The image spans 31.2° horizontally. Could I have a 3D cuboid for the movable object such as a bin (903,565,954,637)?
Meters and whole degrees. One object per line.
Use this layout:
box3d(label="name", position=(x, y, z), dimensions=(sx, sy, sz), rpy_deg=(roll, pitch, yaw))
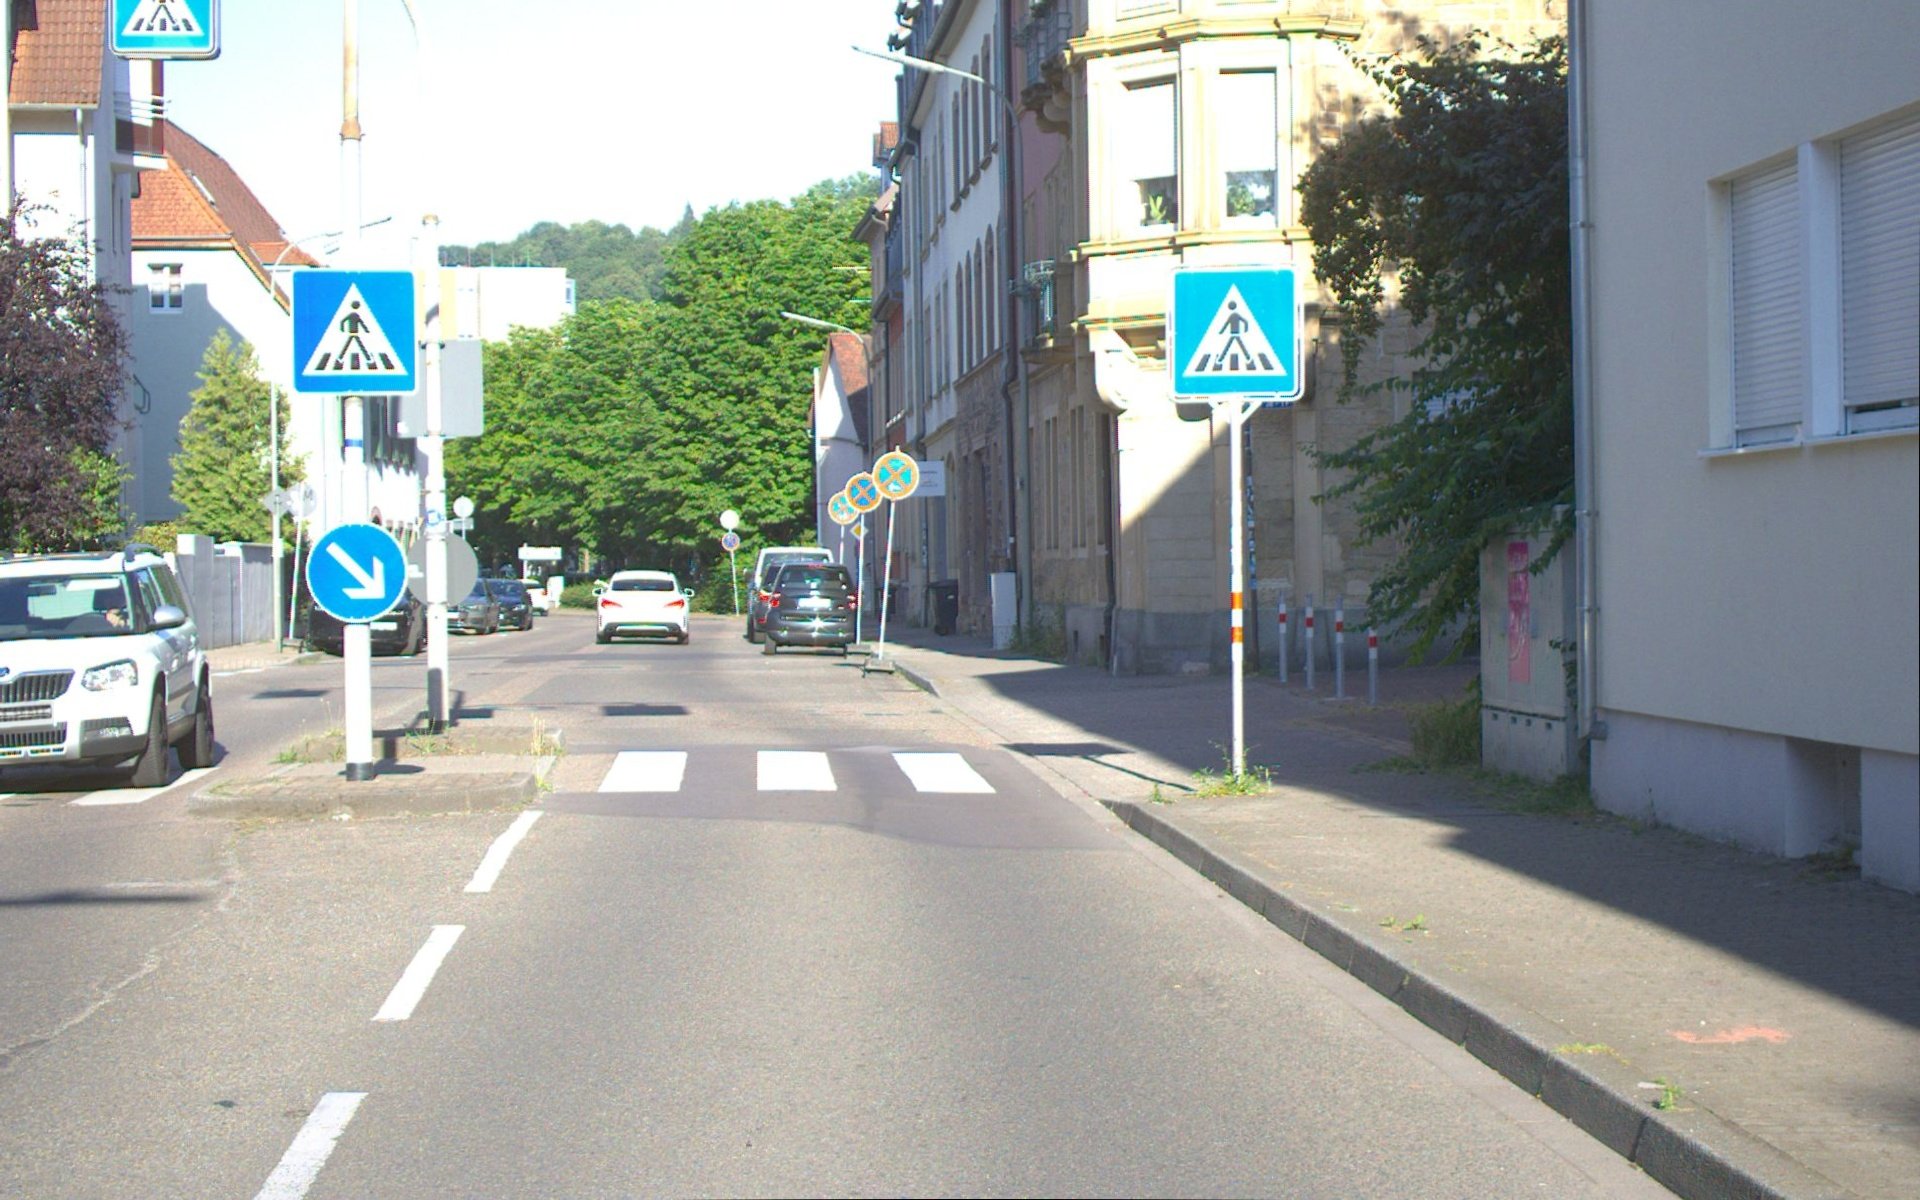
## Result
box3d(label="movable object such as a bin", position=(-0.633, 0.011, 68.368), dimensions=(0.871, 1.373, 0.685), rpy_deg=(-3, 2, -8))

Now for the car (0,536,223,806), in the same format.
box3d(label="car", position=(-6.365, 0.439, 24.225), dimensions=(1.807, 1.696, 4.193), rpy_deg=(-2, 1, -6))

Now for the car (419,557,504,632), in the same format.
box3d(label="car", position=(-12.800, -0.167, 88.480), dimensions=(1.910, 1.754, 4.129), rpy_deg=(-2, 2, -6))

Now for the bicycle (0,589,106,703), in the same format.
box3d(label="bicycle", position=(-10.117, 0.501, 36.802), dimensions=(1.786, 1.180, 0.599), rpy_deg=(-2, 1, -4))

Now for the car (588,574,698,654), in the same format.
box3d(label="car", position=(-6.214, 0.247, 67.059), dimensions=(1.993, 1.461, 4.001), rpy_deg=(-1, 1, -7))

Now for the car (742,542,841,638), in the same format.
box3d(label="car", position=(-3.640, -0.249, 73.790), dimensions=(1.840, 1.899, 4.001), rpy_deg=(-2, 2, -6))

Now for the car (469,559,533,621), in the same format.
box3d(label="car", position=(-12.999, -0.309, 97.531), dimensions=(1.630, 1.625, 3.175), rpy_deg=(-2, 1, -6))

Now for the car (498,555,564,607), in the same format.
box3d(label="car", position=(-16.954, -0.757, 135.674), dimensions=(1.993, 2.007, 4.001), rpy_deg=(-1, 1, -15))

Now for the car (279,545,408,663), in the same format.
box3d(label="car", position=(-11.016, 0.037, 61.610), dimensions=(1.993, 2.007, 4.001), rpy_deg=(-1, 1, -6))

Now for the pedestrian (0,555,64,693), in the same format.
box3d(label="pedestrian", position=(-10.065, 0.256, 37.285), dimensions=(0.556, 1.467, 0.601), rpy_deg=(-2, 1, -8))

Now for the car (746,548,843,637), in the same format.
box3d(label="car", position=(-3.297, -0.183, 68.881), dimensions=(1.818, 1.625, 4.001), rpy_deg=(-2, 2, -2))

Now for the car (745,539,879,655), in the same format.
box3d(label="car", position=(-2.512, -0.088, 57.540), dimensions=(2.010, 1.846, 4.001), rpy_deg=(0, 1, -6))
